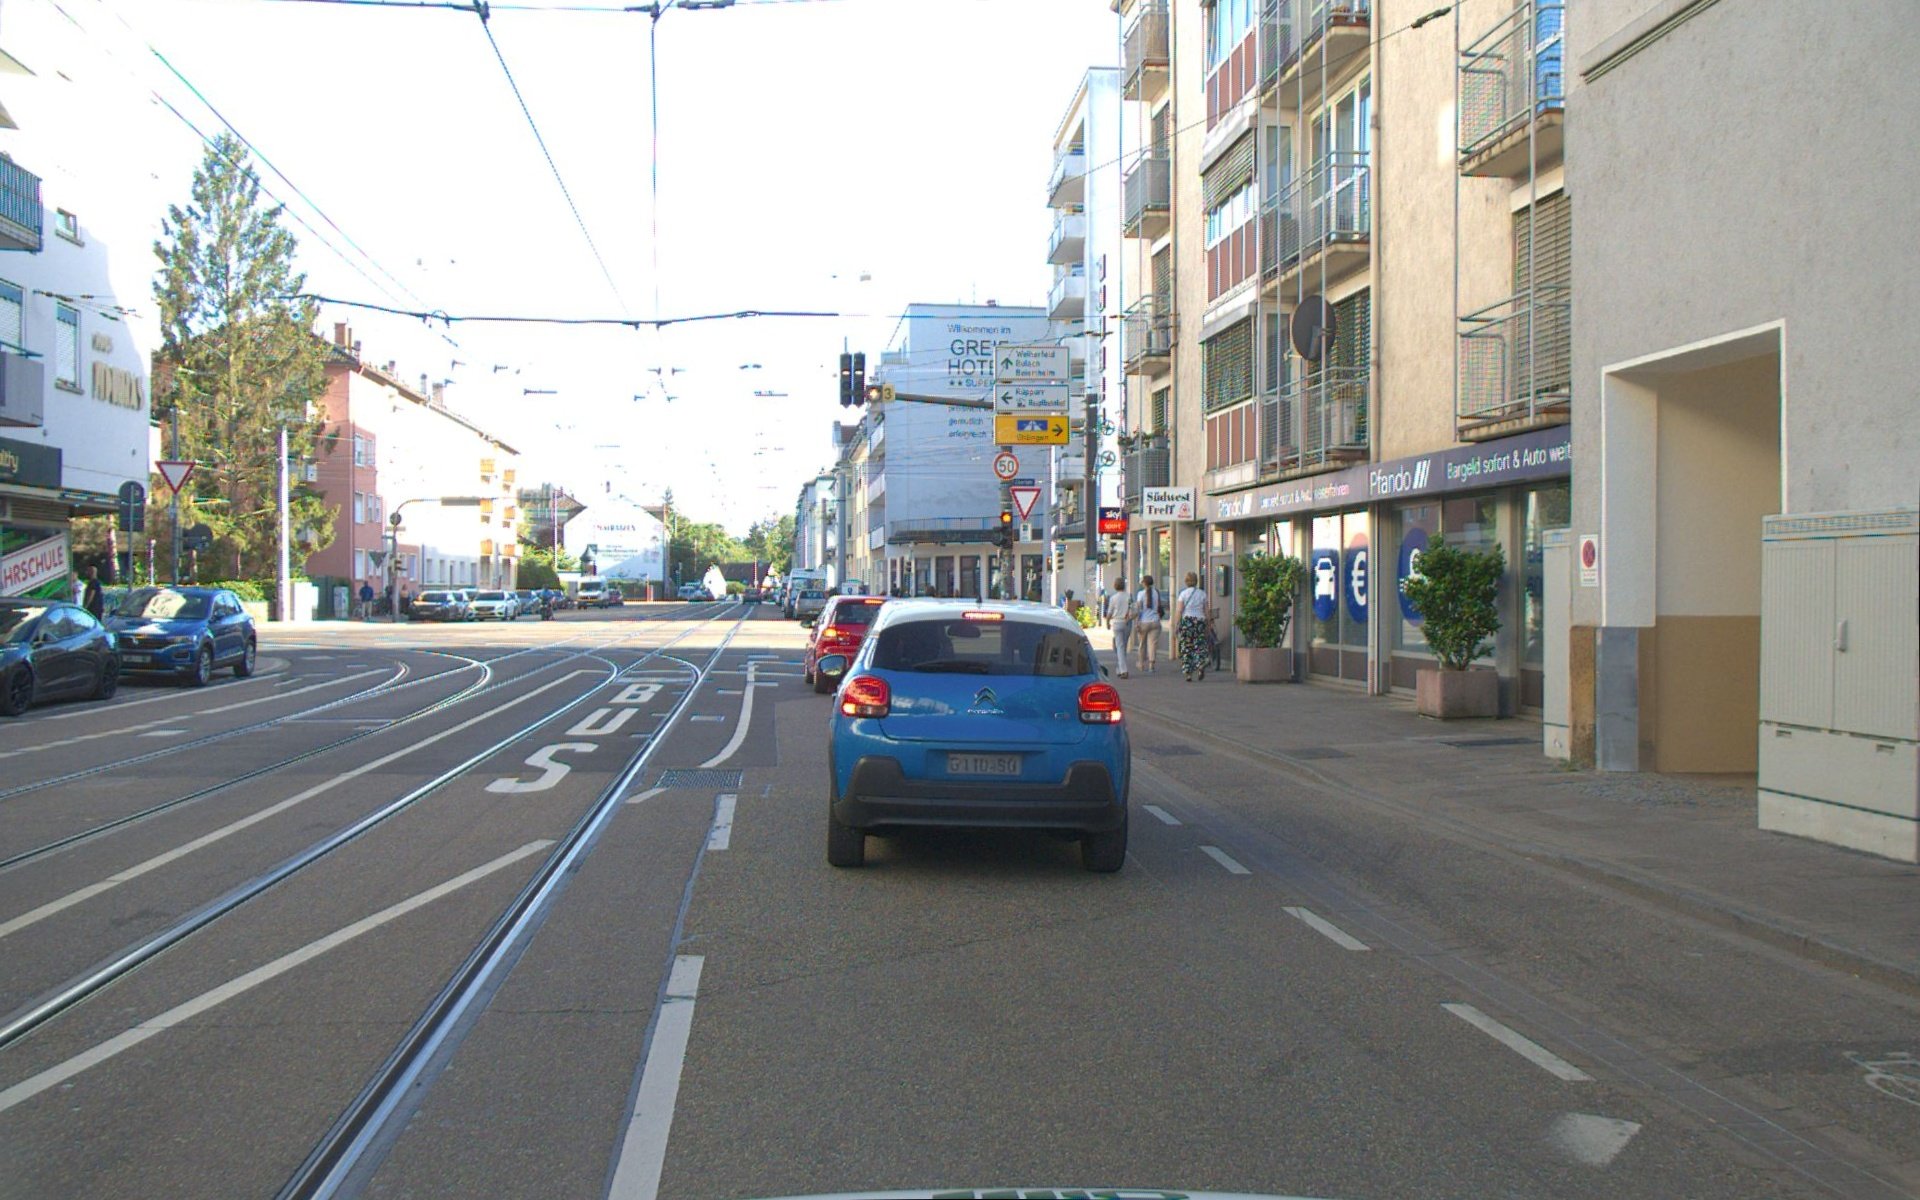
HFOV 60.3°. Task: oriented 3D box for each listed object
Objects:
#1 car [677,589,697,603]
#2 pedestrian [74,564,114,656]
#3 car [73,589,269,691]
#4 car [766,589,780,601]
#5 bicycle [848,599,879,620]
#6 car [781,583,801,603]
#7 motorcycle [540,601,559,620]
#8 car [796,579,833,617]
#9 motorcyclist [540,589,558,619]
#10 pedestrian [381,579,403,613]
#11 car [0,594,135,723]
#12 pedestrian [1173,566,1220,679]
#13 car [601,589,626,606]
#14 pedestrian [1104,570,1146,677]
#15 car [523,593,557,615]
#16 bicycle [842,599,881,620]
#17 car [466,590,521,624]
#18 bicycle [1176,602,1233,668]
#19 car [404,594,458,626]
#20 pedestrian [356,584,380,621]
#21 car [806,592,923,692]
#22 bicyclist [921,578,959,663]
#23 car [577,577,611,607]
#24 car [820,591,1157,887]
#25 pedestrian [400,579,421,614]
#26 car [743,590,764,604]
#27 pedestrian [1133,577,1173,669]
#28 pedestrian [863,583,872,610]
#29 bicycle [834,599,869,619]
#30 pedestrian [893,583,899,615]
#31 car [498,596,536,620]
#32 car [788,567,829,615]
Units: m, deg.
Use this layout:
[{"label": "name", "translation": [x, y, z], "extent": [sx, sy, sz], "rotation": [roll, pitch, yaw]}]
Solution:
[{"label": "car", "translation": [-29.811, -0.453, 180.507], "extent": [1.983, 1.552, 3.993], "rotation": [0, 0, -8]}, {"label": "pedestrian", "translation": [-19.278, 0.218, 36.833], "extent": [0.674, 2.049, 0.485], "rotation": [0, 0, -10]}, {"label": "car", "translation": [-13.080, 0.634, 27.687], "extent": [1.711, 1.536, 3.994], "rotation": [2, 0, -7]}, {"label": "car", "translation": [-28.643, -0.765, 253.953], "extent": [1.954, 1.825, 3.997], "rotation": [0, 0, -4]}, {"label": "bicycle", "translation": [-4.576, 0.455, 78.603], "extent": [1.473, 0.973, 0.701], "rotation": [0, 0, -2]}, {"label": "car", "translation": [-14.655, -0.622, 143.436], "extent": [1.656, 1.646, 3.995], "rotation": [1, 0, -6]}, {"label": "motorcycle", "translation": [-19.587, 0.493, 78.899], "extent": [0.603, 0.879, 1.670], "rotation": [0, 0, -3]}, {"label": "car", "translation": [-7.046, -0.084, 79.977], "extent": [1.699, 1.780, 3.209], "rotation": [1, 0, -7]}, {"label": "motorcyclist", "translation": [-19.568, 0.201, 78.745], "extent": [0.705, 1.402, 0.911], "rotation": [0, 0, -3]}, {"label": "pedestrian", "translation": [-28.222, -0.206, 82.201], "extent": [0.826, 1.720, 0.737], "rotation": [0, 0, -1]}, {"label": "car", "translation": [-12.590, 0.702, 21.762], "extent": [1.667, 1.536, 4.306], "rotation": [2, 0, -6]}, {"label": "pedestrian", "translation": [3.645, 0.346, 25.535], "extent": [0.531, 1.701, 0.649], "rotation": [-2, 0, -6]}, {"label": "car", "translation": [-32.567, -0.212, 155.397], "extent": [1.983, 1.552, 3.993], "rotation": [0, 0, -8]}, {"label": "pedestrian", "translation": [2.702, 0.372, 27.047], "extent": [0.531, 1.701, 0.623], "rotation": [-2, 2, -6]}, {"label": "car", "translation": [-29.691, 0.261, 117.084], "extent": [1.875, 1.523, 3.993], "rotation": [0, 0, -8]}, {"label": "bicycle", "translation": [-4.732, 0.452, 79.654], "extent": [1.836, 0.973, 0.701], "rotation": [0, 0, -2]}, {"label": "car", "translation": [-22.764, 0.303, 80.873], "extent": [1.814, 1.601, 4.395], "rotation": [0, 0, -6]}, {"label": "bicycle", "translation": [4.248, 0.596, 28.847], "extent": [0.520, 1.091, 1.808], "rotation": [0, 0, -7]}, {"label": "car", "translation": [-25.574, 0.453, 80.053], "extent": [1.876, 1.458, 3.992], "rotation": [0, 0, -9]}, {"label": "pedestrian", "translation": [-27.276, 0.106, 76.231], "extent": [0.826, 1.720, 0.737], "rotation": [0, 0, -1]}, {"label": "car", "translation": [-1.530, 0.608, 26.317], "extent": [1.704, 1.445, 3.997], "rotation": [0, 0, -4]}, {"label": "bicyclist", "translation": [-0.399, 0.396, 33.055], "extent": [0.712, 1.674, 0.789], "rotation": [0, 0, -4]}, {"label": "car", "translation": [-28.792, -0.661, 130.329], "extent": [2.165, 2.290, 4.669], "rotation": [0, 0, -7]}, {"label": "car", "translation": [0.140, 0.710, 10.528], "extent": [1.708, 1.488, 4.000], "rotation": [1, 0, 0]}, {"label": "pedestrian", "translation": [-27.369, -0.192, 82.367], "extent": [0.826, 1.720, 0.737], "rotation": [0, 0, -1]}, {"label": "car", "translation": [-18.807, -0.275, 150.518], "extent": [1.723, 1.281, 3.823], "rotation": [0, 0, -10]}, {"label": "pedestrian", "translation": [3.322, 0.394, 28.545], "extent": [0.531, 1.534, 0.610], "rotation": [-2, 2, -6]}, {"label": "pedestrian", "translation": [-5.497, -0.217, 98.495], "extent": [0.482, 1.583, 0.647], "rotation": [0, 0, -5]}, {"label": "bicycle", "translation": [-5.331, 0.447, 80.975], "extent": [1.685, 0.973, 0.701], "rotation": [0, 0, -2]}, {"label": "pedestrian", "translation": [-3.212, -0.042, 82.860], "extent": [0.279, 1.583, 0.304], "rotation": [0, 0, -12]}, {"label": "car", "translation": [-29.087, 0.522, 108.707], "extent": [1.875, 1.523, 3.993], "rotation": [0, 0, -8]}, {"label": "car", "translation": [-7.774, -0.443, 84.852], "extent": [1.955, 2.366, 3.994], "rotation": [1, 0, -7]}]
